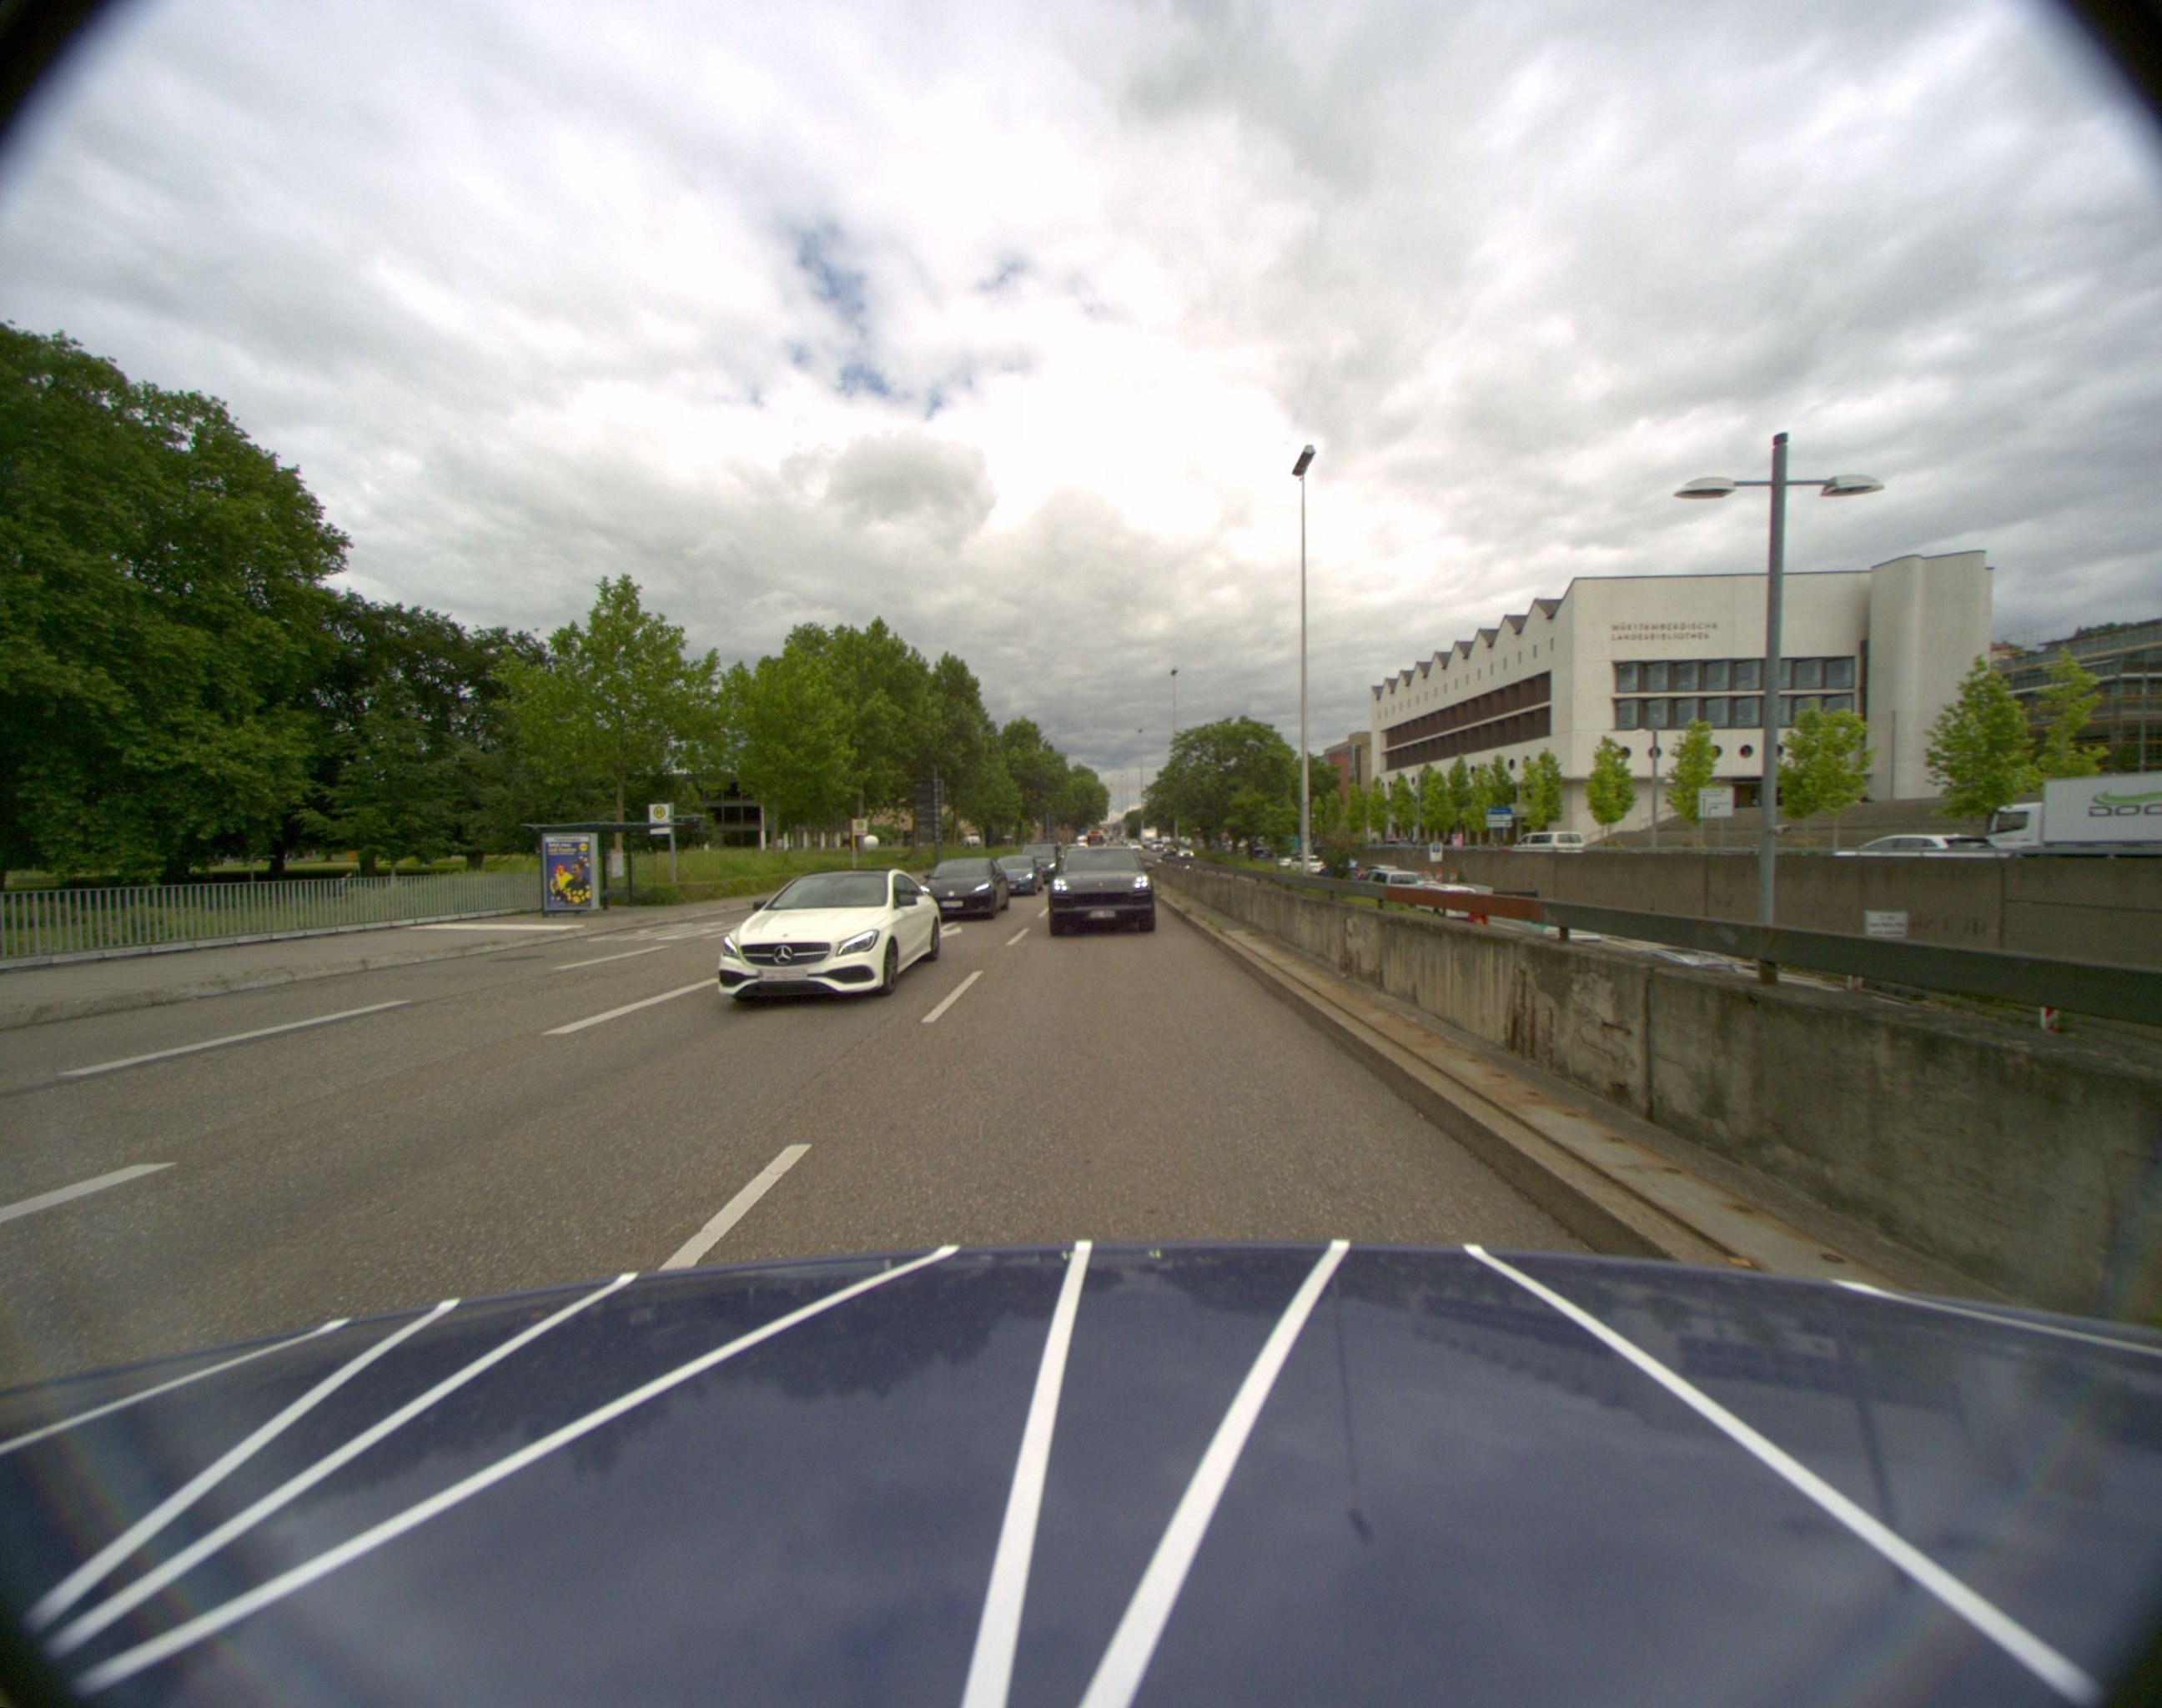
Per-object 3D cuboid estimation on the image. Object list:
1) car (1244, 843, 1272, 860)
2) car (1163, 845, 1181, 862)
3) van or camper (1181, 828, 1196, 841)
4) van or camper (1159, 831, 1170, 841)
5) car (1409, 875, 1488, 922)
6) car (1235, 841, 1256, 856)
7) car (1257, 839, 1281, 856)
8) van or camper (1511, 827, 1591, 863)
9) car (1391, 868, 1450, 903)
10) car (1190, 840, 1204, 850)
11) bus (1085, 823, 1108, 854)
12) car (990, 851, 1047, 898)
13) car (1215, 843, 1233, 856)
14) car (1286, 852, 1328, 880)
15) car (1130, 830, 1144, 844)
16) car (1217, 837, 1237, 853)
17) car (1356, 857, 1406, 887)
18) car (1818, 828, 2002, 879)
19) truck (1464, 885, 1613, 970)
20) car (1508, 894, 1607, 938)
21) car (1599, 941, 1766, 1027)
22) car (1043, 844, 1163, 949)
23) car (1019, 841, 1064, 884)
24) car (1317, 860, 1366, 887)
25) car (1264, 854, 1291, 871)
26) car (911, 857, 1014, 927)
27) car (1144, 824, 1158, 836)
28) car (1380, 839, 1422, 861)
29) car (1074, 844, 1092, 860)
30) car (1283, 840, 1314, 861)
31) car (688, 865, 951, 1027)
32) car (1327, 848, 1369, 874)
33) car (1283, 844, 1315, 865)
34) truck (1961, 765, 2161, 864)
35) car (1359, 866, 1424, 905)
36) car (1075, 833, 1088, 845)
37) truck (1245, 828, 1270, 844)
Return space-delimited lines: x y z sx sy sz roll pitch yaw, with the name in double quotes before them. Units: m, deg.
"car" 18.213 -0.211 78.314 1.998 1.650 4.000 -2 0 1
"car" 11.847 -0.104 99.051 1.998 2.002 3.999 0 2 1
"van or camper" 18.599 -3.349 131.987 2.036 2.002 4.000 -2 0 1
"van or camper" 18.283 -3.919 166.112 2.036 2.002 4.000 -2 0 1
"car" 17.979 2.131 37.382 1.998 2.002 4.000 2 0 1
"car" 22.966 -0.717 106.242 1.998 2.002 4.000 2 0 1
"car" 22.647 -0.747 91.769 1.998 2.002 4.000 2 0 1
"van or camper" 28.159 -0.496 45.690 1.998 2.002 4.557 -2 0 1
"car" 21.699 1.949 48.721 1.998 2.002 4.000 2 0 1
"car" 17.412 -1.345 114.273 1.674 1.477 3.361 -2 0 1
"bus" 2.217 -2.229 112.190 3.043 4.328 8.748 -2 1 0
"car" -2.227 0.703 28.107 1.573 1.528 4.001 -2 1 2
"car" 17.765 -0.556 94.500 1.674 1.477 3.361 -2 0 1
"car" 18.271 0.896 61.671 1.998 2.119 4.852 2 0 1
"car" 8.433 -2.610 114.813 1.998 2.002 4.000 -1 0 1
"car" 20.272 -1.239 105.372 1.998 2.002 3.999 -3 1 1
"car" 21.559 1.288 54.801 1.998 2.002 4.000 2 0 1
"car" 28.094 -0.005 25.976 1.723 1.565 4.271 -2 0 3
"truck" 17.581 2.717 29.709 2.324 2.675 5.979 -2 0 2
"car" 21.379 2.742 34.304 1.998 1.543 4.000 -3 1 1
"car" 17.465 3.709 22.344 1.794 1.805 3.927 -2 0 1
"car" 0.415 0.705 14.957 1.937 1.668 4.680 -2 0 1
"car" -1.780 0.363 35.849 1.723 1.851 4.430 -2 1 1
"car" 18.127 1.329 53.143 1.998 1.733 4.281 2 0 1
"car" 17.953 0.784 69.440 1.674 1.477 3.361 -1 1 1
"car" -2.902 0.891 19.483 1.829 1.515 4.120 -2 0 1
"car" 12.453 -4.301 135.122 1.997 2.002 4.002 -2 1 10
"car" 27.820 -0.367 66.118 1.998 1.805 4.000 -2 0 1
"car" 0.212 -0.161 69.688 1.565 1.409 3.619 -2 0 1
"car" 22.091 -0.327 77.311 1.998 2.002 4.000 2 0 1
"car" -2.972 0.942 9.765 1.723 1.415 4.505 -2 1 0
"car" 21.557 0.549 61.546 1.998 2.002 4.000 2 0 1
"car" 22.391 0.046 78.337 1.998 2.002 4.655 -2 0 1
"truck" 31.850 -1.147 22.441 3.239 2.771 7.253 -2 0 0
"car" 17.984 1.774 44.237 1.998 2.002 4.333 2 0 1
"car" 0.141 -2.684 135.111 1.999 2.002 3.998 -3 1 -4
"truck" 26.263 -2.663 113.378 2.002 2.145 5.617 -2 0 -5
